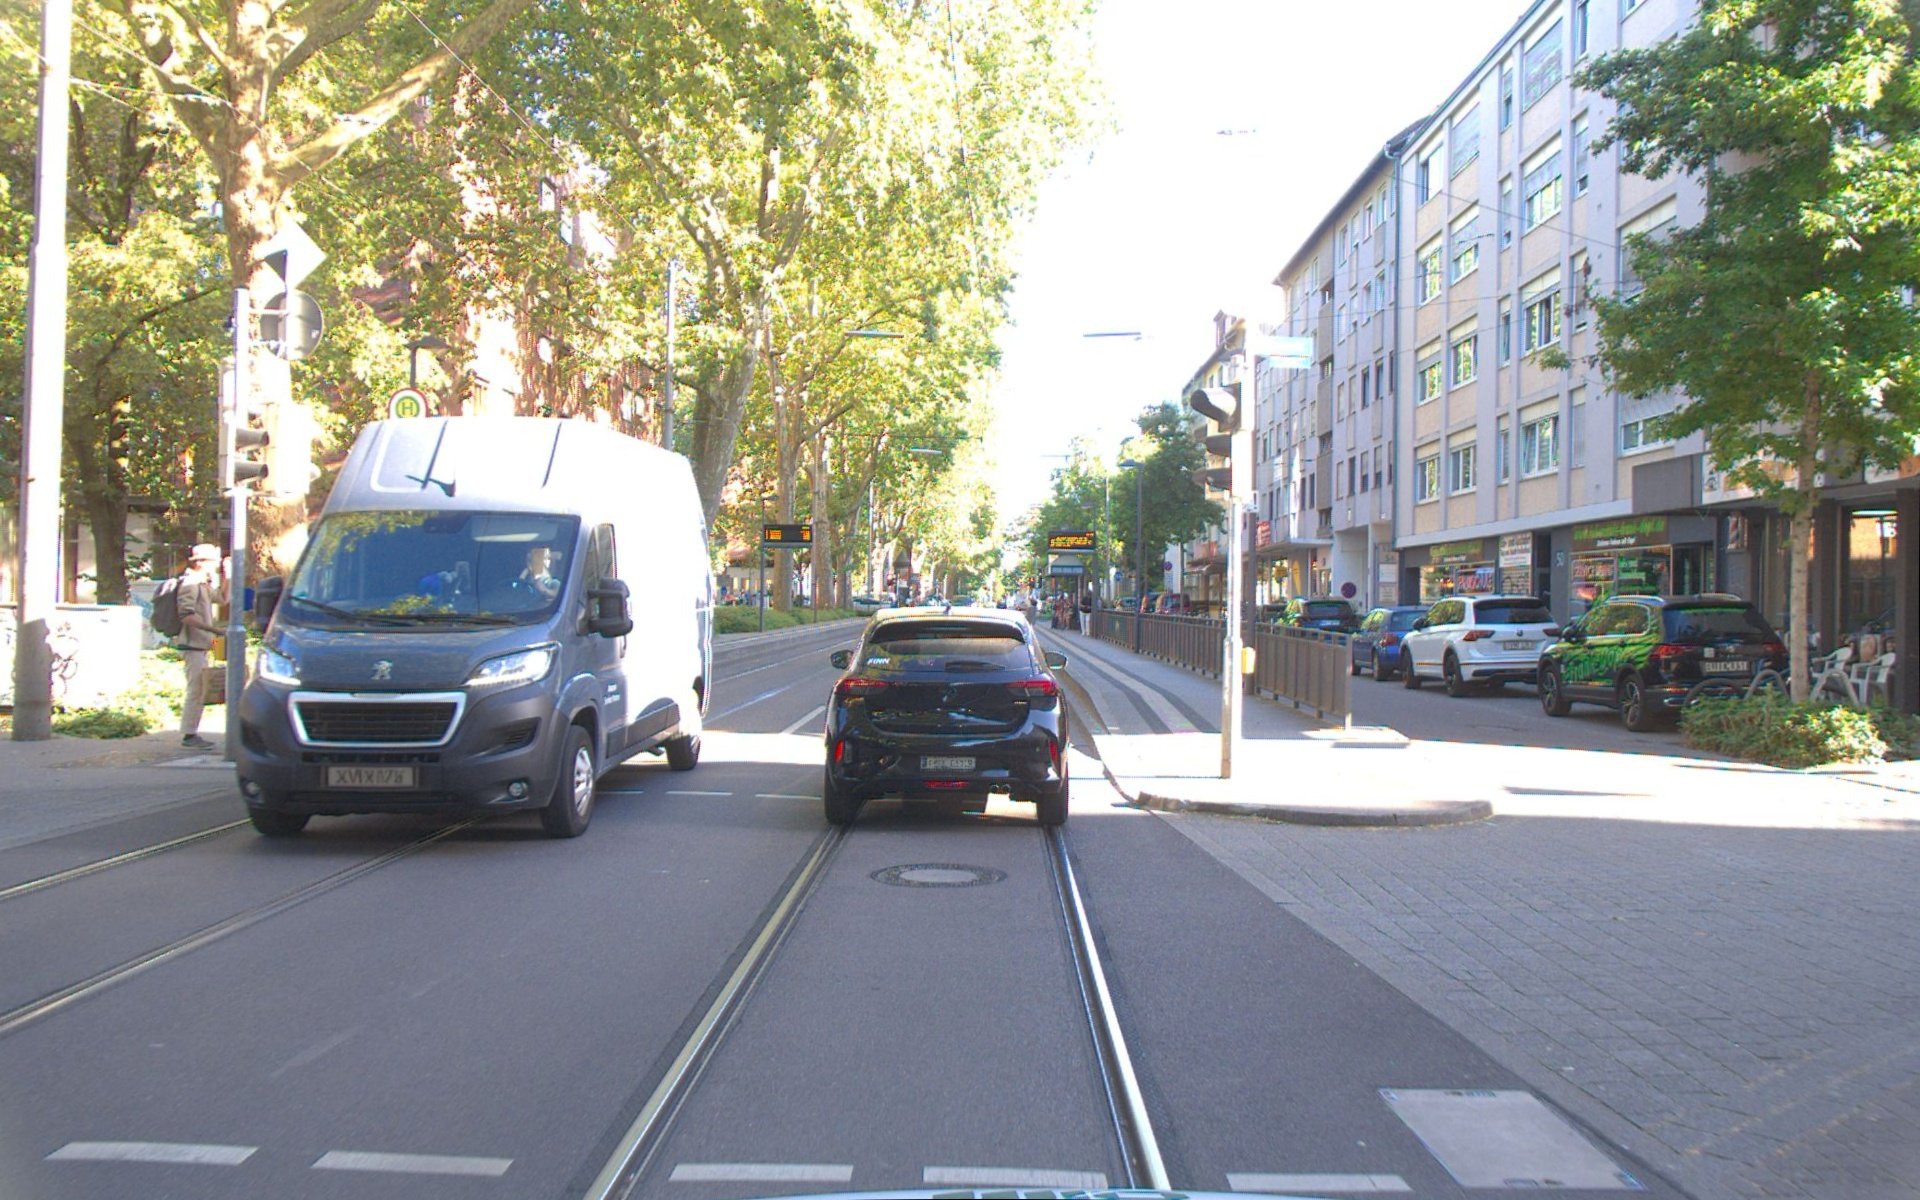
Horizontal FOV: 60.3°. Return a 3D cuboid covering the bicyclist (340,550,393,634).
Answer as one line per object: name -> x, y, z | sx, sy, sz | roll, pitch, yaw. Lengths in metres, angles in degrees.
bicyclist -> -12.950, -0.169, 36.090 | 0.759, 1.780, 0.997 | 2, -1, -1

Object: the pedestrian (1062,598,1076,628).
pedestrian -> 4.594, 0.539, 69.600 | 0.523, 1.252, 0.510 | 2, -1, -3

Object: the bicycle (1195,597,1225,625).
bicycle -> 10.752, 0.459, 71.082 | 0.586, 1.156, 2.199 | 2, -1, -10

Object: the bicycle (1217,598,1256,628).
bicycle -> 11.115, 0.501, 66.513 | 0.600, 1.156, 2.914 | 2, -1, -10

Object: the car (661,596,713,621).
car -> -23.943, 0.787, 145.337 | 4.162, 2.049, 2.000 | 2, -1, 1

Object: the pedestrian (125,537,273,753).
pedestrian -> -6.848, 0.382, 14.924 | 0.905, 1.867, 0.920 | 2, 2, -3

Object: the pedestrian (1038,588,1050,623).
pedestrian -> 4.149, 0.280, 81.748 | 0.520, 1.739, 0.752 | 2, -1, 3

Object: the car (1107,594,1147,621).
car -> 9.864, 0.460, 97.936 | 1.952, 1.512, 4.000 | 2, -1, 1

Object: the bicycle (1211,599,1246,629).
bicycle -> 10.640, 0.547, 65.583 | 0.591, 1.156, 2.429 | 2, -1, -10

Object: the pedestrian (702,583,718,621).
pedestrian -> -13.393, 0.099, 88.697 | 0.658, 1.984, 0.498 | 1, -1, 17

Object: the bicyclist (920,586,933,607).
bicyclist -> -2.762, -0.317, 137.933 | 0.921, 1.732, 1.153 | 2, -1, 4

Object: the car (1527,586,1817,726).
car -> 9.126, 0.681, 21.666 | 1.952, 1.644, 4.445 | 0, -1, 1

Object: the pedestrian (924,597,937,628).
pedestrian -> -2.022, 0.837, 112.721 | 0.661, 2.048, 0.702 | 3, 0, 13

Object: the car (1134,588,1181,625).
car -> 10.179, 0.336, 85.556 | 1.953, 1.829, 4.000 | 2, -1, 0

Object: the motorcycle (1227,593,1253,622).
motorcycle -> 13.314, 0.356, 78.652 | 0.873, 1.302, 2.043 | 2, -1, 1

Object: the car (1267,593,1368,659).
car -> 9.580, 0.681, 44.653 | 1.819, 1.644, 4.398 | 2, -1, 1

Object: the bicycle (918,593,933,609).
bicycle -> -2.842, 0.105, 137.032 | 0.935, 1.262, 2.979 | 2, -1, 4

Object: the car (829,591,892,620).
car -> -6.534, 0.352, 108.215 | 4.035, 1.730, 1.881 | 2, -1, -6

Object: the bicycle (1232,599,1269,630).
bicycle -> 11.077, 0.534, 63.150 | 0.610, 1.156, 2.433 | 2, -1, -10

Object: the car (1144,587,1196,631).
car -> 9.983, 0.454, 79.016 | 1.953, 1.986, 4.000 | 2, -1, 0

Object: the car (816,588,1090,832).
car -> -0.074, 0.712, 12.323 | 1.724, 1.534, 3.682 | 0, 0, -1

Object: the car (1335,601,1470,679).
car -> 9.092, 0.804, 34.319 | 1.708, 1.465, 4.247 | 2, 0, 1

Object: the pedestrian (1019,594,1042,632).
pedestrian -> 3.299, 0.615, 77.368 | 0.737, 1.739, 0.760 | 1, -1, 36

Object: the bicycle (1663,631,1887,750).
bicycle -> 8.935, 0.977, 18.206 | 2.081, 1.208, 0.681 | 2, -1, 9

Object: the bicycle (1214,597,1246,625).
bicycle -> 11.428, 0.471, 70.061 | 0.586, 1.156, 2.199 | 2, -1, -10

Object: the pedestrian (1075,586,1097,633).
pedestrian -> 4.465, 0.325, 58.645 | 0.618, 1.603, 0.871 | 3, 0, 1

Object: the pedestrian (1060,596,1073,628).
pedestrian -> 4.562, 0.514, 70.846 | 0.492, 1.327, 0.428 | 2, -1, -3

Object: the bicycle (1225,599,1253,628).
bicycle -> 11.452, 0.556, 67.827 | 0.402, 1.156, 2.199 | 2, -1, -10

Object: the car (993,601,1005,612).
car -> 5.757, 1.005, 245.072 | 1.710, 1.571, 3.999 | 2, -1, -1

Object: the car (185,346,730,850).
car -> -3.204, 0.012, 12.211 | 2.070, 2.786, 6.115 | 0, -1, 1

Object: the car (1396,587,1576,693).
car -> 8.970, 0.656, 28.575 | 1.762, 1.634, 4.415 | 2, -1, 1

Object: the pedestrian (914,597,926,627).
pedestrian -> -2.740, 0.822, 112.851 | 0.661, 2.048, 0.702 | 3, 0, 7

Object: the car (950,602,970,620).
car -> -0.009, 0.961, 148.212 | 1.710, 1.571, 3.999 | 2, -1, -1
